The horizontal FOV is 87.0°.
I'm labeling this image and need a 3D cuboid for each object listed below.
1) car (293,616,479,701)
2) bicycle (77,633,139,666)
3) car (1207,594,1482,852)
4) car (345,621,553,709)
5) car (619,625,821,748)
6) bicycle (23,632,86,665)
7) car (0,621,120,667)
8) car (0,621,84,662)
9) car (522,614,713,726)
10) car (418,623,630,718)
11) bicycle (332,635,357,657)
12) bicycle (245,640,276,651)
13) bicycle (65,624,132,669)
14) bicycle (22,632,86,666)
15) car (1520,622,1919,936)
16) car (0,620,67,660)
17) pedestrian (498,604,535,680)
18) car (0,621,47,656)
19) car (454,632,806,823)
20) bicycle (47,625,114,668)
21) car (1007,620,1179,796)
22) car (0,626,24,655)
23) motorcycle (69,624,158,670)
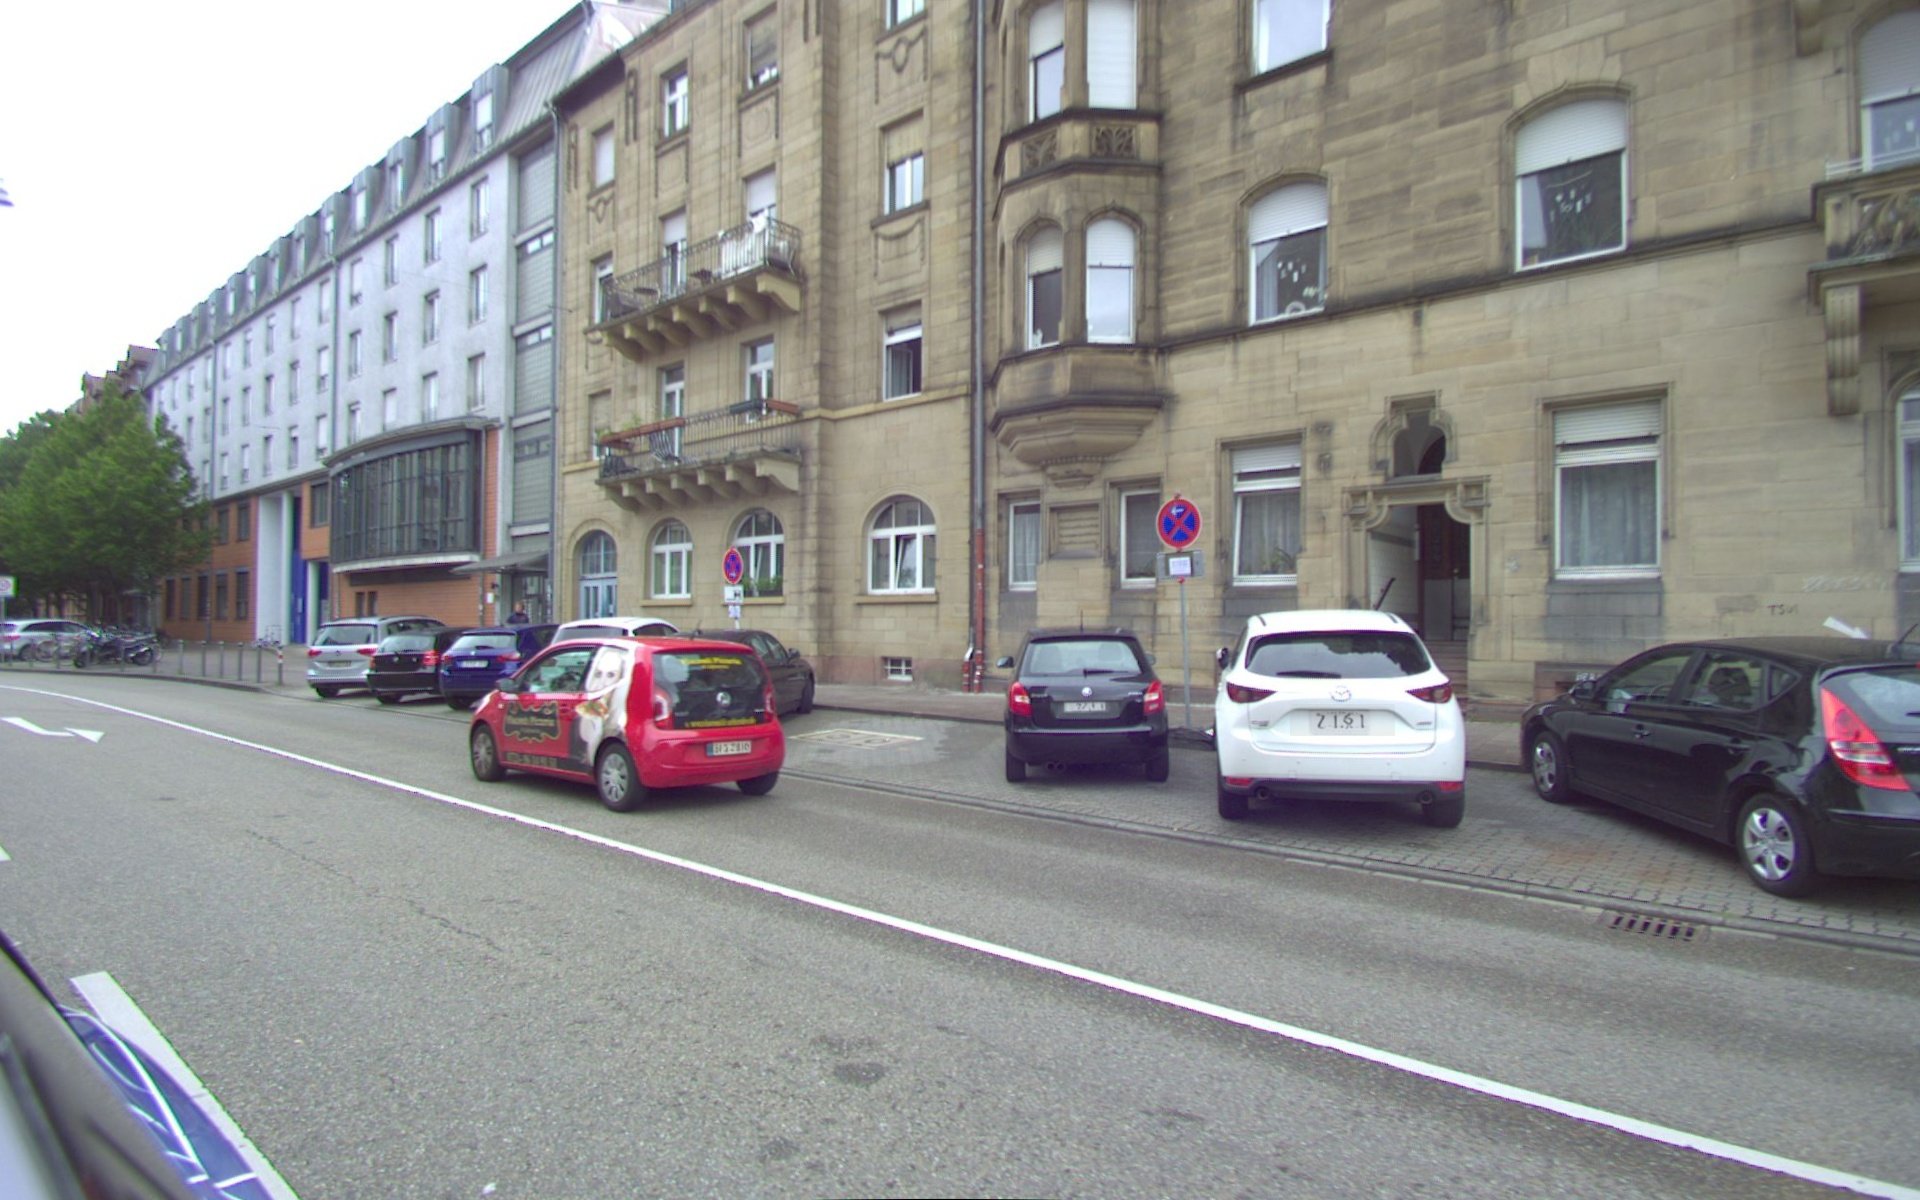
[{"bbox_3d":[-12.413,1.202,22.188,1.710,1.566,3.998,-1,0,2],"label":"car"},{"bbox_3d":[-29.593,1.694,35.170,0.416,1.082,1.609,-1,-1,40],"label":"bicycle"},{"bbox_3d":[3.267,0.833,9.106,1.825,1.736,3.978,0,1,17],"label":"car"},{"bbox_3d":[-10.044,1.224,20.269,1.714,1.449,3.989,-1,0,9],"label":"car"},{"bbox_3d":[-3.264,1.117,14.588,1.641,1.428,3.993,0,0,6],"label":"car"},{"bbox_3d":[-31.542,1.684,35.280,0.416,1.082,1.609,-1,-1,40],"label":"bicycle"},{"bbox_3d":[-34.374,1.628,38.041,1.758,1.641,3.976,0,-2,18],"label":"car"},{"bbox_3d":[-38.995,1.682,41.678,1.984,1.641,3.976,0,-2,18],"label":"car"},{"bbox_3d":[-5.612,1.077,17.106,1.681,1.566,3.996,-1,0,3],"label":"car"},{"bbox_3d":[-7.862,1.212,18.664,1.804,1.456,3.736,-1,0,11],"label":"car"},{"bbox_3d":[-22.898,1.707,37.637,1.581,0.793,0.332,-1,-3,42],"label":"bicycle"},{"bbox_3d":[-29.700,1.926,42.967,0.527,0.440,0.997,1,-1,43],"label":"bicycle"},{"bbox_3d":[-27.502,1.460,32.327,0.416,1.363,1.609,-1,-1,40],"label":"bicycle"},{"bbox_3d":[-31.235,1.684,34.924,0.416,1.082,1.609,-1,-1,40],"label":"bicycle"},{"bbox_3d":[5.768,0.953,7.058,1.709,1.506,3.995,0,0,4],"label":"car"},{"bbox_3d":[-41.200,1.703,43.359,1.984,1.641,3.976,0,-2,18],"label":"car"},{"bbox_3d":[-10.981,1.034,25.058,0.642,1.837,0.613,-1,-3,41],"label":"pedestrian"},{"bbox_3d":[-45.646,1.803,47.302,1.984,1.641,3.976,0,-2,18],"label":"car"},{"bbox_3d":[-3.225,1.044,9.605,3.510,1.458,1.631,-1,-3,42],"label":"car"},{"bbox_3d":[-28.382,1.489,32.674,0.416,1.299,1.609,-1,-1,40],"label":"bicycle"},{"bbox_3d":[1.290,1.011,11.064,1.549,1.508,3.809,0,0,3],"label":"car"},{"bbox_3d":[-50.680,2.057,51.615,1.724,1.508,3.976,0,-2,18],"label":"car"},{"bbox_3d":[-26.599,1.465,31.831,0.599,1.363,2.096,-1,-1,42],"label":"motorcycle"}]
